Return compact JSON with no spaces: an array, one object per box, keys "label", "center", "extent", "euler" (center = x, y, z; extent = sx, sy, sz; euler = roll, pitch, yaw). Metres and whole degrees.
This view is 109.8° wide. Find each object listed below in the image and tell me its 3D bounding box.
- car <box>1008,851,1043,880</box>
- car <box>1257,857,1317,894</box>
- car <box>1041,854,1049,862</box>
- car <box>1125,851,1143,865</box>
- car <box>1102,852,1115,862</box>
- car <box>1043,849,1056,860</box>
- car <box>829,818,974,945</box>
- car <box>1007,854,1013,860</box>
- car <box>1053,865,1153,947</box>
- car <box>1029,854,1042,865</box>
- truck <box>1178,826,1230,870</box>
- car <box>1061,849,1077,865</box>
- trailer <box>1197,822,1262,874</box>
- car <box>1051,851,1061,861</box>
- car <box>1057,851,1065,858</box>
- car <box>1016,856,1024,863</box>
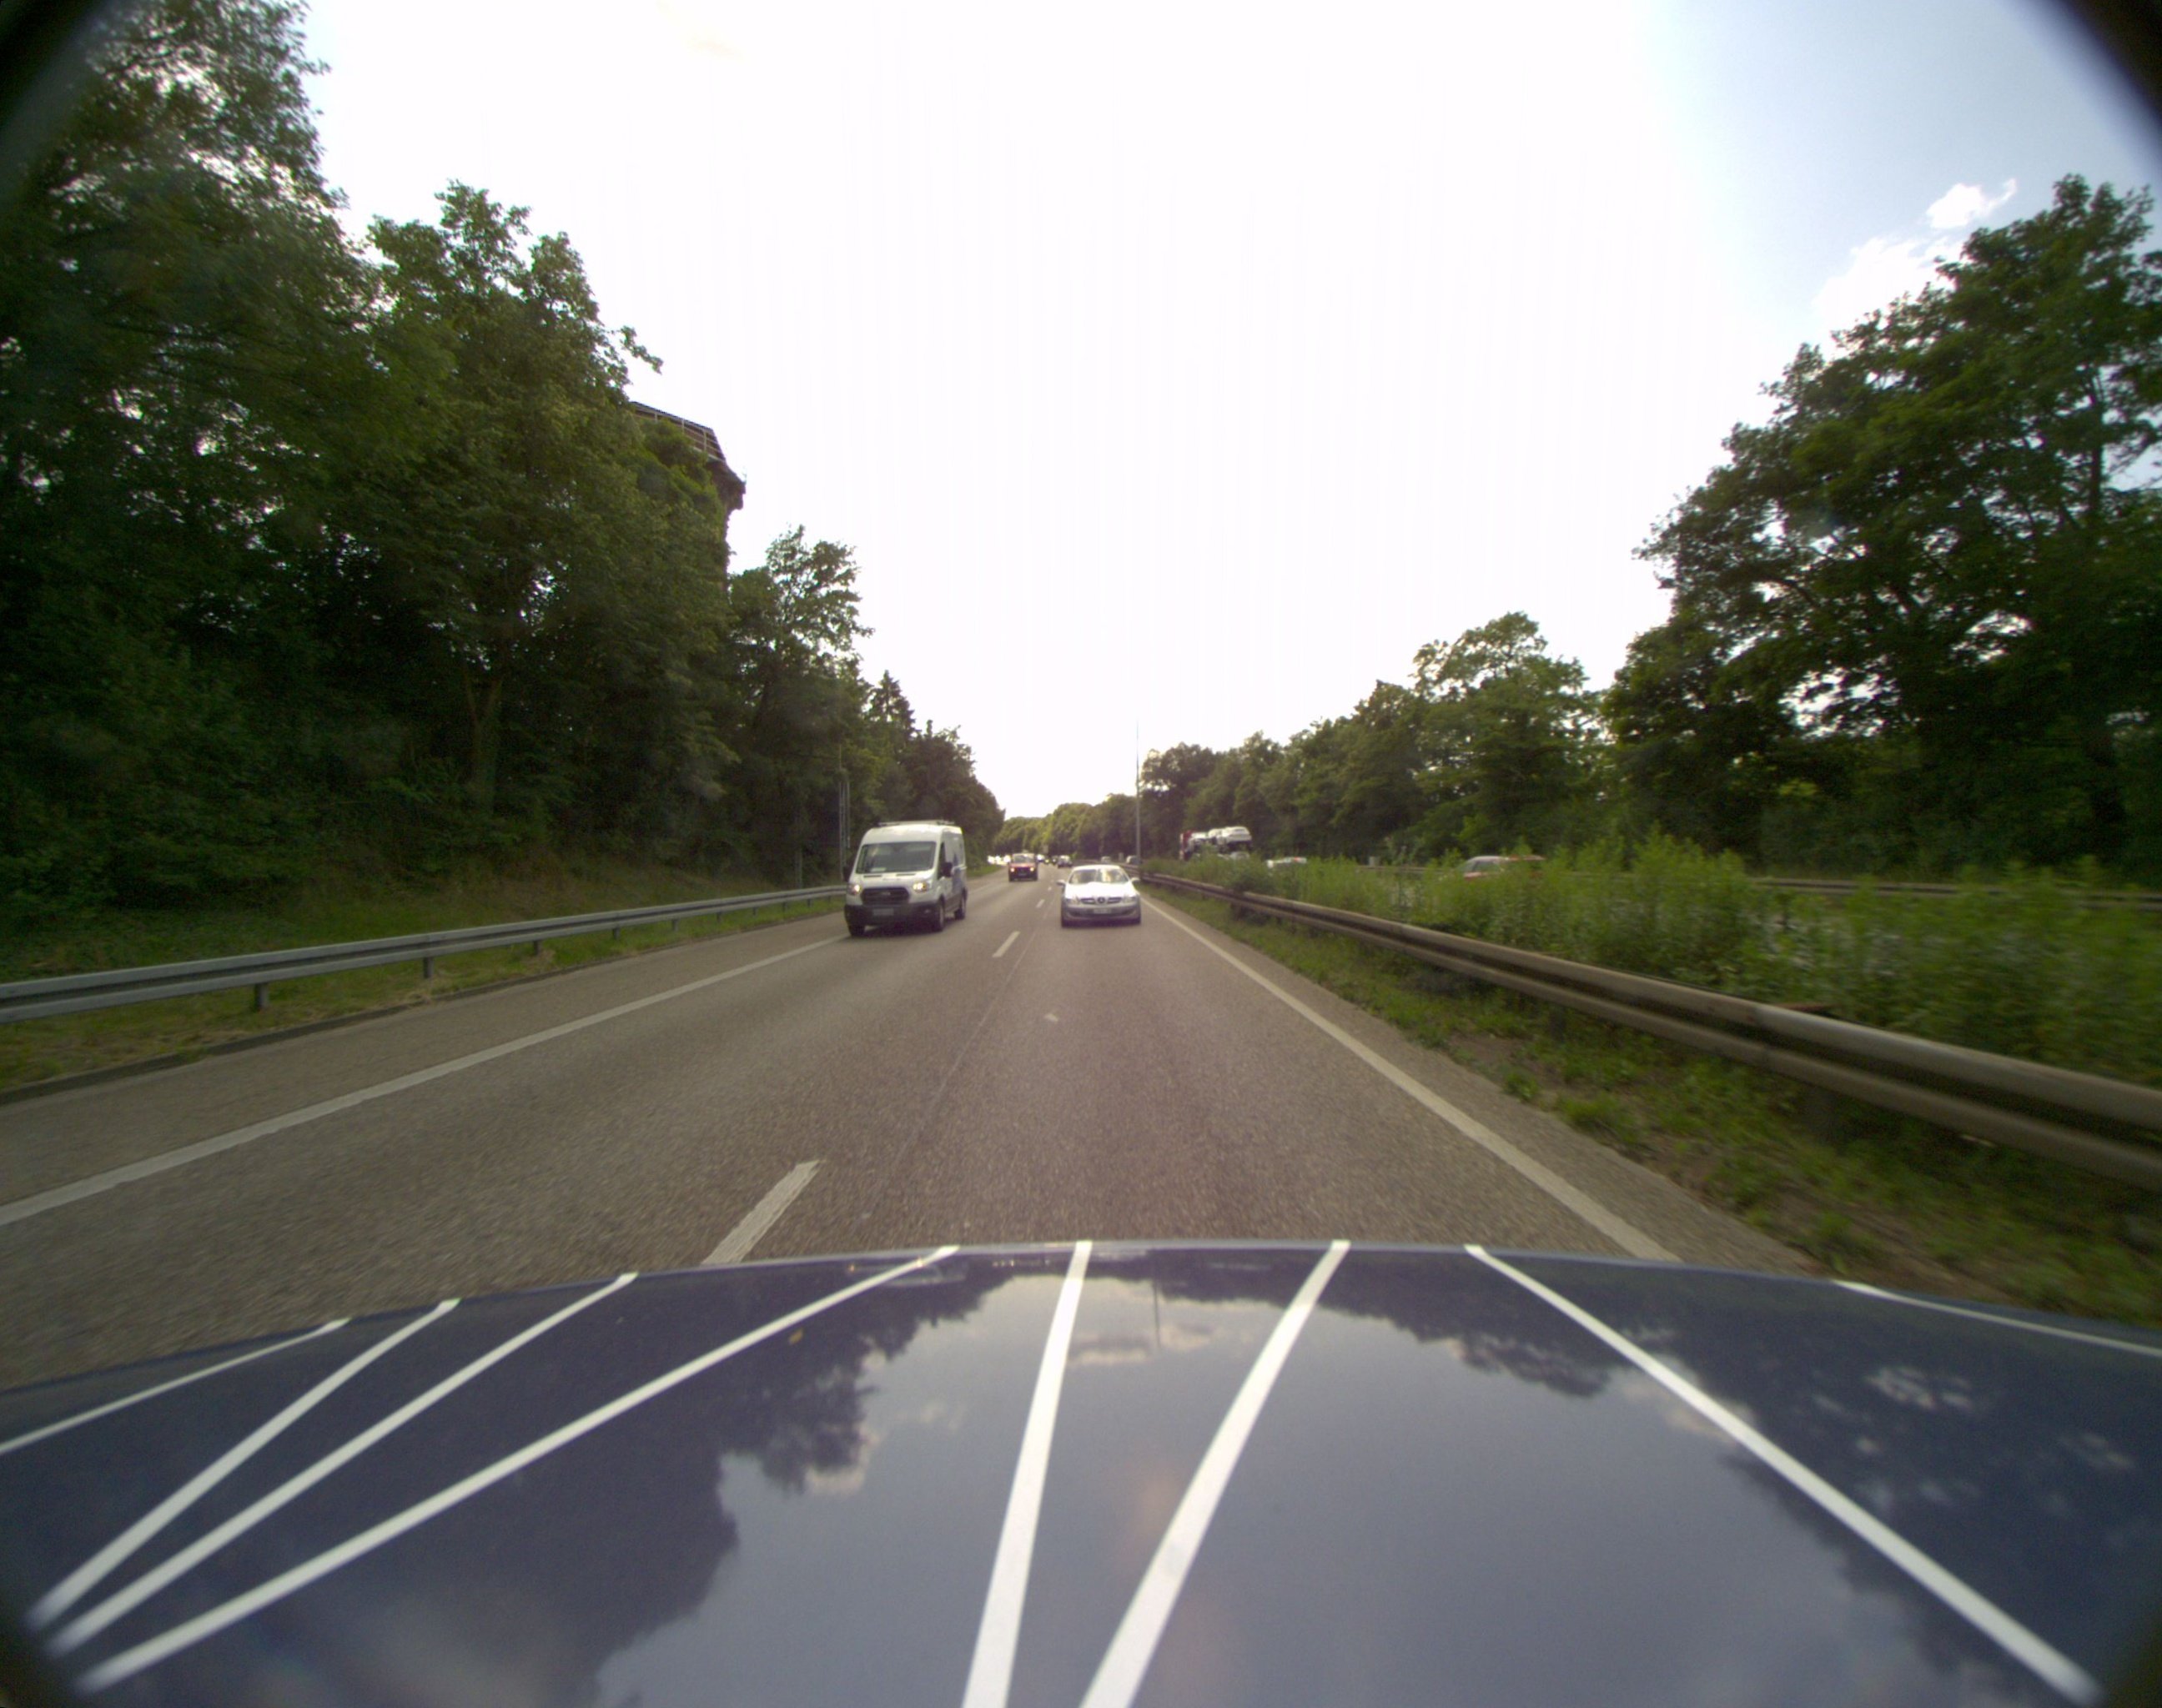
[{"label":"car","center":[-3.784,0.770,52.384],"extent":[1.908,1.795,4.395],"euler":[-3,0,1]},{"label":"car","center":[8.582,0.850,31.860],"extent":[1.618,1.415,3.323],"euler":[-1,0,0]},{"label":"car","center":[-7.708,0.911,162.472],"extent":[1.700,1.579,3.998],"euler":[-1,0,-4]},{"label":"car","center":[6.236,0.426,90.137],"extent":[1.678,1.542,4.262],"euler":[-1,0,-2]},{"label":"car","center":[4.317,0.423,121.310],"extent":[1.710,1.559,4.030],"euler":[-1,0,-2]},{"label":"car","center":[-5.991,0.115,142.264],"extent":[2.000,2.002,3.997],"euler":[-1,0,-8]},{"label":"car","center":[-4.024,0.543,18.110],"extent":[2.104,2.493,5.278],"euler":[-3,0,0]},{"label":"car","center":[-21.108,0.891,226.455],"extent":[1.786,1.513,3.997],"euler":[-1,0,-7]},{"label":"car","center":[0.458,0.993,16.455],"extent":[1.751,1.295,5.223],"euler":[-3,0,1]},{"label":"car","center":[-6.926,0.823,116.499],"extent":[1.889,1.516,3.999],"euler":[-1,0,-2]},{"label":"truck","center":[11.392,-0.550,71.409],"extent":[2.963,3.833,10.321],"euler":[0,0,-1]},{"label":"car","center":[-1.604,0.378,99.963],"extent":[1.999,2.002,3.999],"euler":[-1,0,-2]},{"label":"trailer","center":[11.716,-0.458,61.057],"extent":[2.946,3.811,10.307],"euler":[-1,0,-2]},{"label":"car","center":[-4.160,0.335,126.428],"extent":[1.473,1.560,3.293],"euler":[-1,0,-4]},{"label":"car","center":[-5.592,0.194,211.328],"extent":[1.850,1.808,5.476],"euler":[-1,0,-4]},{"label":"car","center":[-14.901,1.308,185.612],"extent":[1.786,1.513,3.998],"euler":[-1,0,-5]}]
